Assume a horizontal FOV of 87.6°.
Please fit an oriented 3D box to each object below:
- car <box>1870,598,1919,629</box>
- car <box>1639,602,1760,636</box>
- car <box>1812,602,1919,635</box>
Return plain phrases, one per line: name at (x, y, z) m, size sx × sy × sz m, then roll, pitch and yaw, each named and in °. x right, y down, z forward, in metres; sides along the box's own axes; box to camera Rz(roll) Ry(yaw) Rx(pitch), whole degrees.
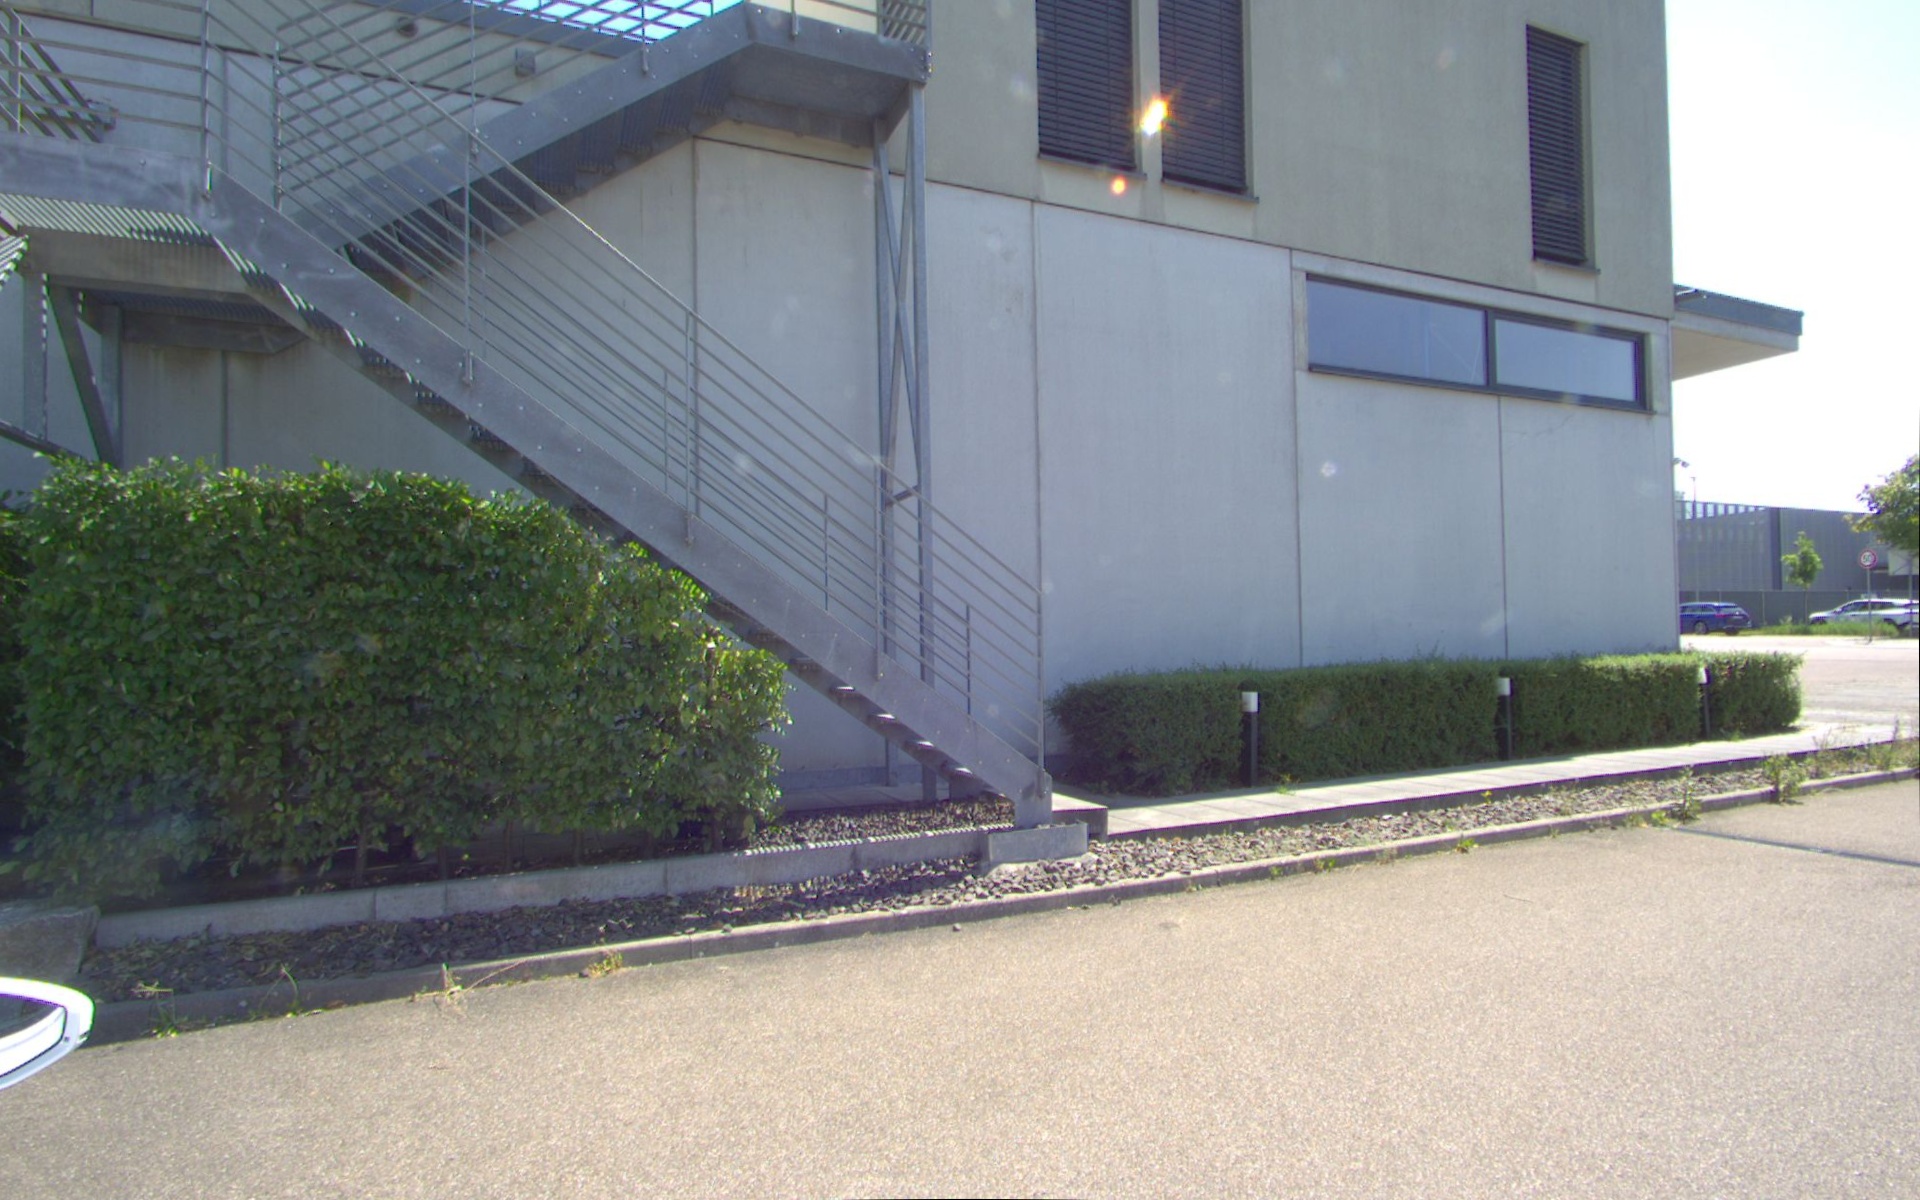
car at (46.045, 0.638, 47.466) m, size 1.717 × 1.433 × 4.064 m, roll 1°, pitch -2°, yaw -11°
car at (33.199, 0.892, 45.128) m, size 1.717 × 1.433 × 4.446 m, roll 1°, pitch -2°, yaw -10°
car at (42.731, 0.887, 46.710) m, size 1.717 × 1.433 × 4.446 m, roll 1°, pitch -2°, yaw -11°
